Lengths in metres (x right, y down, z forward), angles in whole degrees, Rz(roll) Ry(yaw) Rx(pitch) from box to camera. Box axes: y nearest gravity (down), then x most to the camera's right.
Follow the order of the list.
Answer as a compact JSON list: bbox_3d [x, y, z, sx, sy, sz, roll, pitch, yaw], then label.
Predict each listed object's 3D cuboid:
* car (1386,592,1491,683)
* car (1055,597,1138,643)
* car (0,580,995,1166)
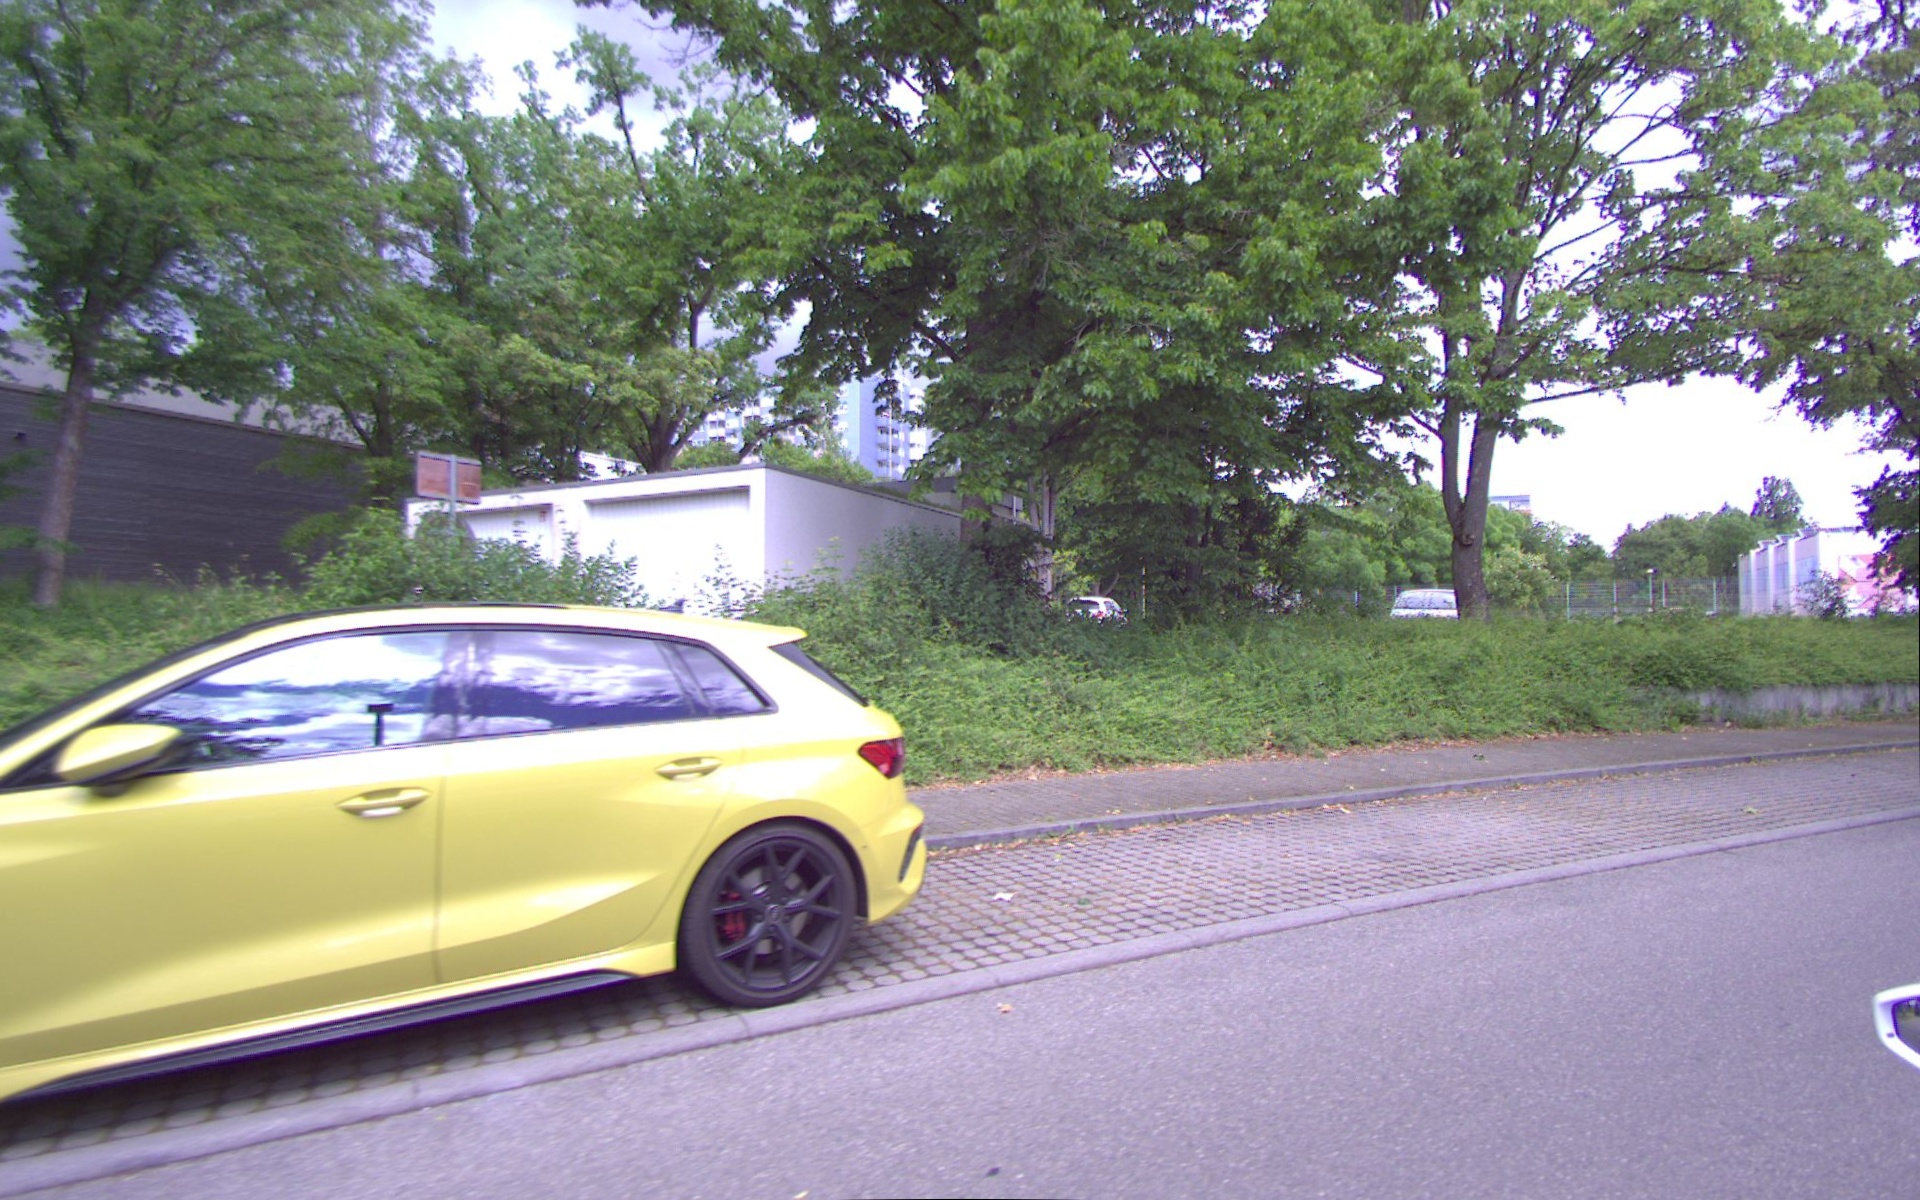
[{"bbox_3d":[9.677,0.697,20.208,1.714,1.643,3.868,-2,-1,28],"label":"car"},{"bbox_3d":[4.815,0.697,35.074,1.756,1.461,3.614,3,0,27],"label":"car"},{"bbox_3d":[-2.089,0.688,3.593,4.226,1.421,1.691,2,-1,-32],"label":"car"}]
